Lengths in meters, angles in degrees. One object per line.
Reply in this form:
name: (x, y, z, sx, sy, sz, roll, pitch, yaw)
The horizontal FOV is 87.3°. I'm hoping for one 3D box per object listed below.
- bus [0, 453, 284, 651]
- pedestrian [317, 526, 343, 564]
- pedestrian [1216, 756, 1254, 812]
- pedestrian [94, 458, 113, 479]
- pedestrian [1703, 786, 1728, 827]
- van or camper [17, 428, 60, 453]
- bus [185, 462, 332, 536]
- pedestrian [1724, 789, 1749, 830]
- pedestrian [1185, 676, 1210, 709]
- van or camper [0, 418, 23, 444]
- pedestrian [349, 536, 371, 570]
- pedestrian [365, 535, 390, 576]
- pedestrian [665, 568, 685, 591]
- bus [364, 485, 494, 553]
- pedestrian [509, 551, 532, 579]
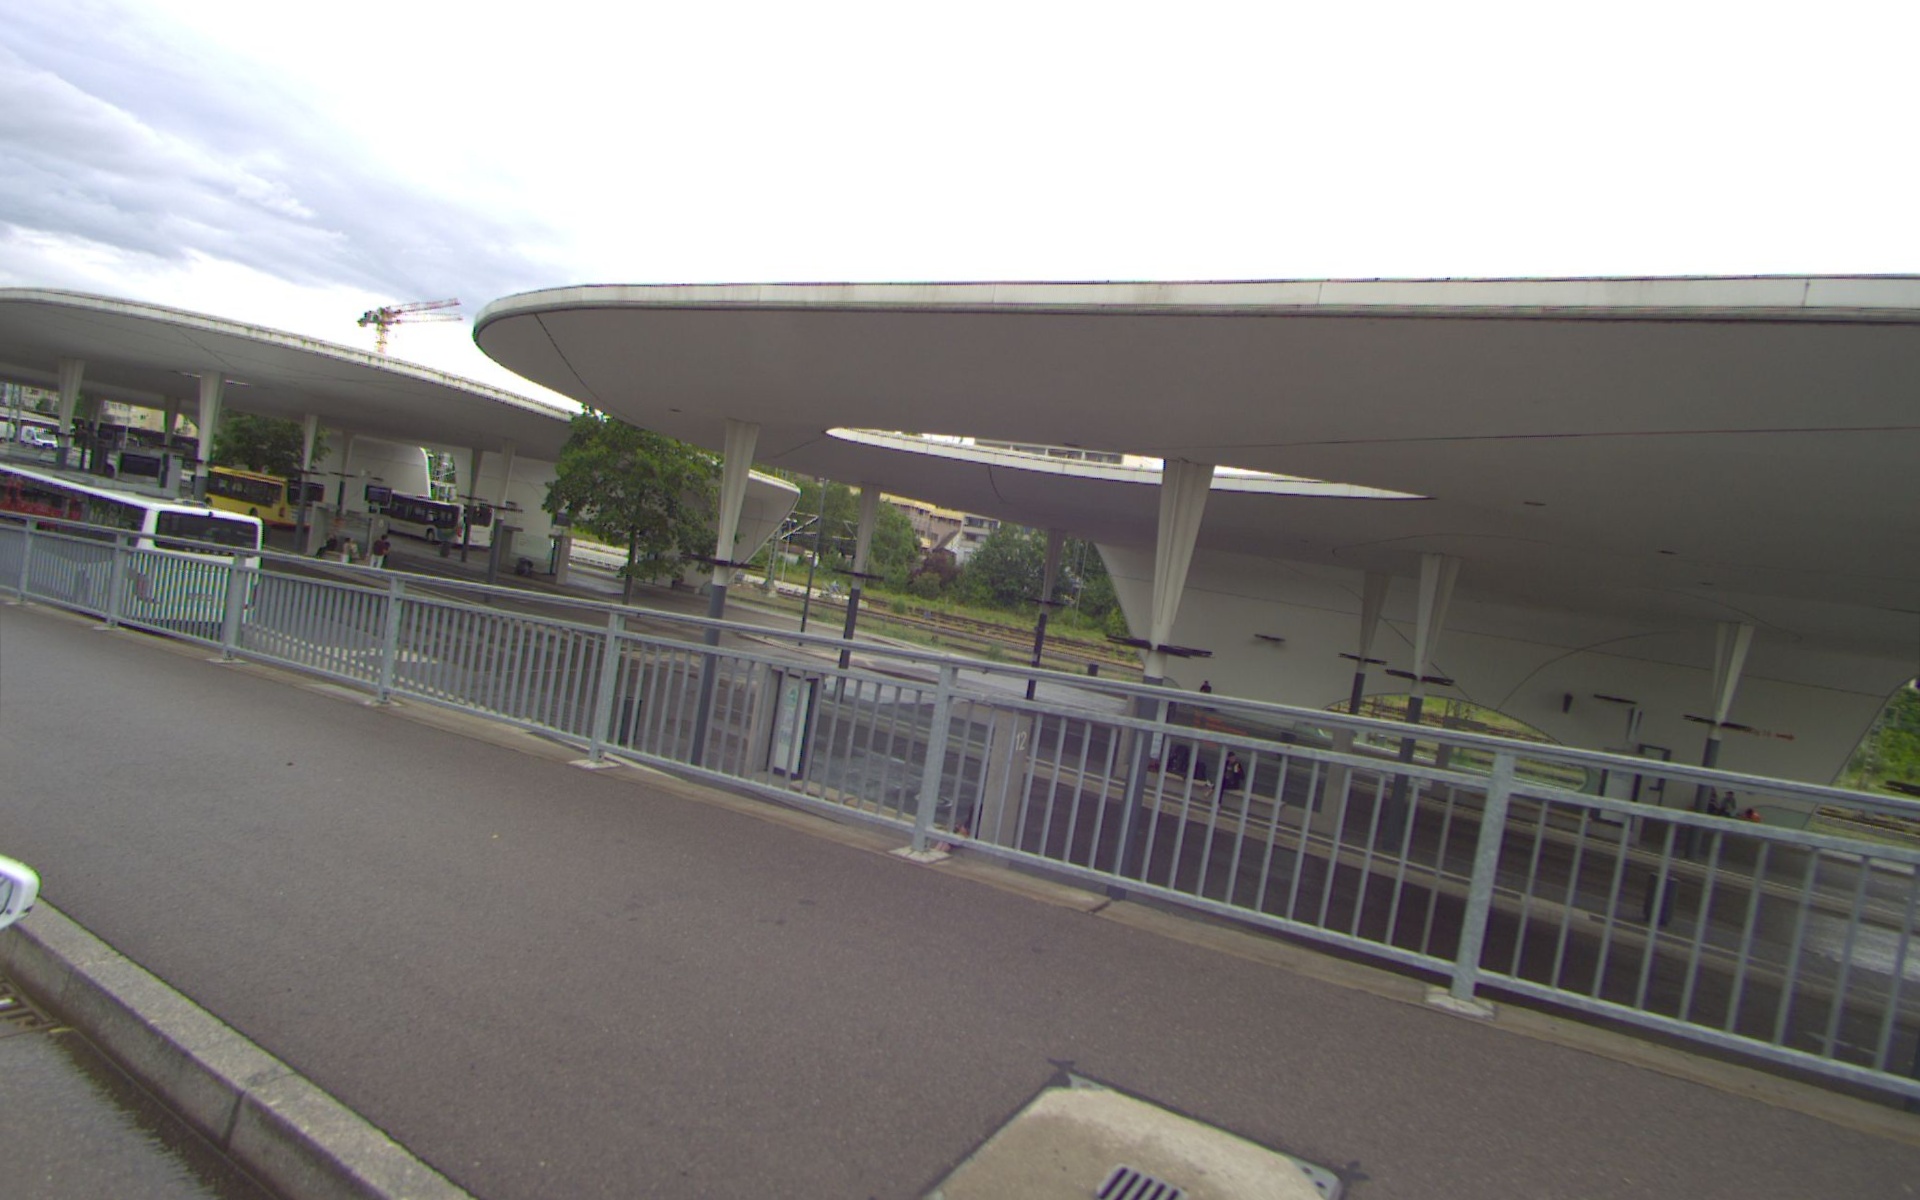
bus: (-23.218, -1.563, 27.378, 12.215, 3.401, 2.851, 11, 1, 31)
pedestrian: (-29.012, -2.524, 46.347, 0.666, 1.608, 0.590, 7, -1, 27)
pedestrian: (6.596, 4.403, 24.104, 0.658, 1.177, 0.536, 7, -1, 28)
pedestrian: (-70.948, -10.893, 83.356, 0.892, 1.606, 0.796, 9, 2, 25)
pedestrian: (26.732, 7.296, 35.597, 0.576, 1.285, 0.568, 6, -1, 34)
van or camper: (-104.435, -18.093, 113.947, 5.388, 2.128, 1.997, 8, 0, 31)
bus: (-45.349, -6.584, 64.829, 11.933, 3.300, 2.791, 10, 3, 30)
pedestrian: (27.263, 7.329, 35.306, 0.537, 1.295, 0.568, 6, -1, 33)
pedestrian: (10.785, 4.193, 45.599, 0.700, 1.340, 0.799, 6, -1, 36)
van or camper: (-110.804, -19.688, 115.162, 2.083, 2.588, 4.617, 8, -1, 30)
pedestrian: (-26.799, -2.108, 44.954, 0.548, 1.412, 0.568, 11, 5, 37)
pedestrian: (-25.125, -1.930, 43.394, 0.629, 1.677, 0.641, 7, 4, -9)
pedestrian: (-18.011, -1.306, 63.525, 0.789, 1.340, 0.710, 6, -1, 34)
bus: (-38.177, -5.865, 72.045, 11.769, 3.302, 2.466, 11, 5, 31)
pedestrian: (-23.623, -1.871, 54.055, 0.790, 1.340, 0.709, 6, -1, 39)
